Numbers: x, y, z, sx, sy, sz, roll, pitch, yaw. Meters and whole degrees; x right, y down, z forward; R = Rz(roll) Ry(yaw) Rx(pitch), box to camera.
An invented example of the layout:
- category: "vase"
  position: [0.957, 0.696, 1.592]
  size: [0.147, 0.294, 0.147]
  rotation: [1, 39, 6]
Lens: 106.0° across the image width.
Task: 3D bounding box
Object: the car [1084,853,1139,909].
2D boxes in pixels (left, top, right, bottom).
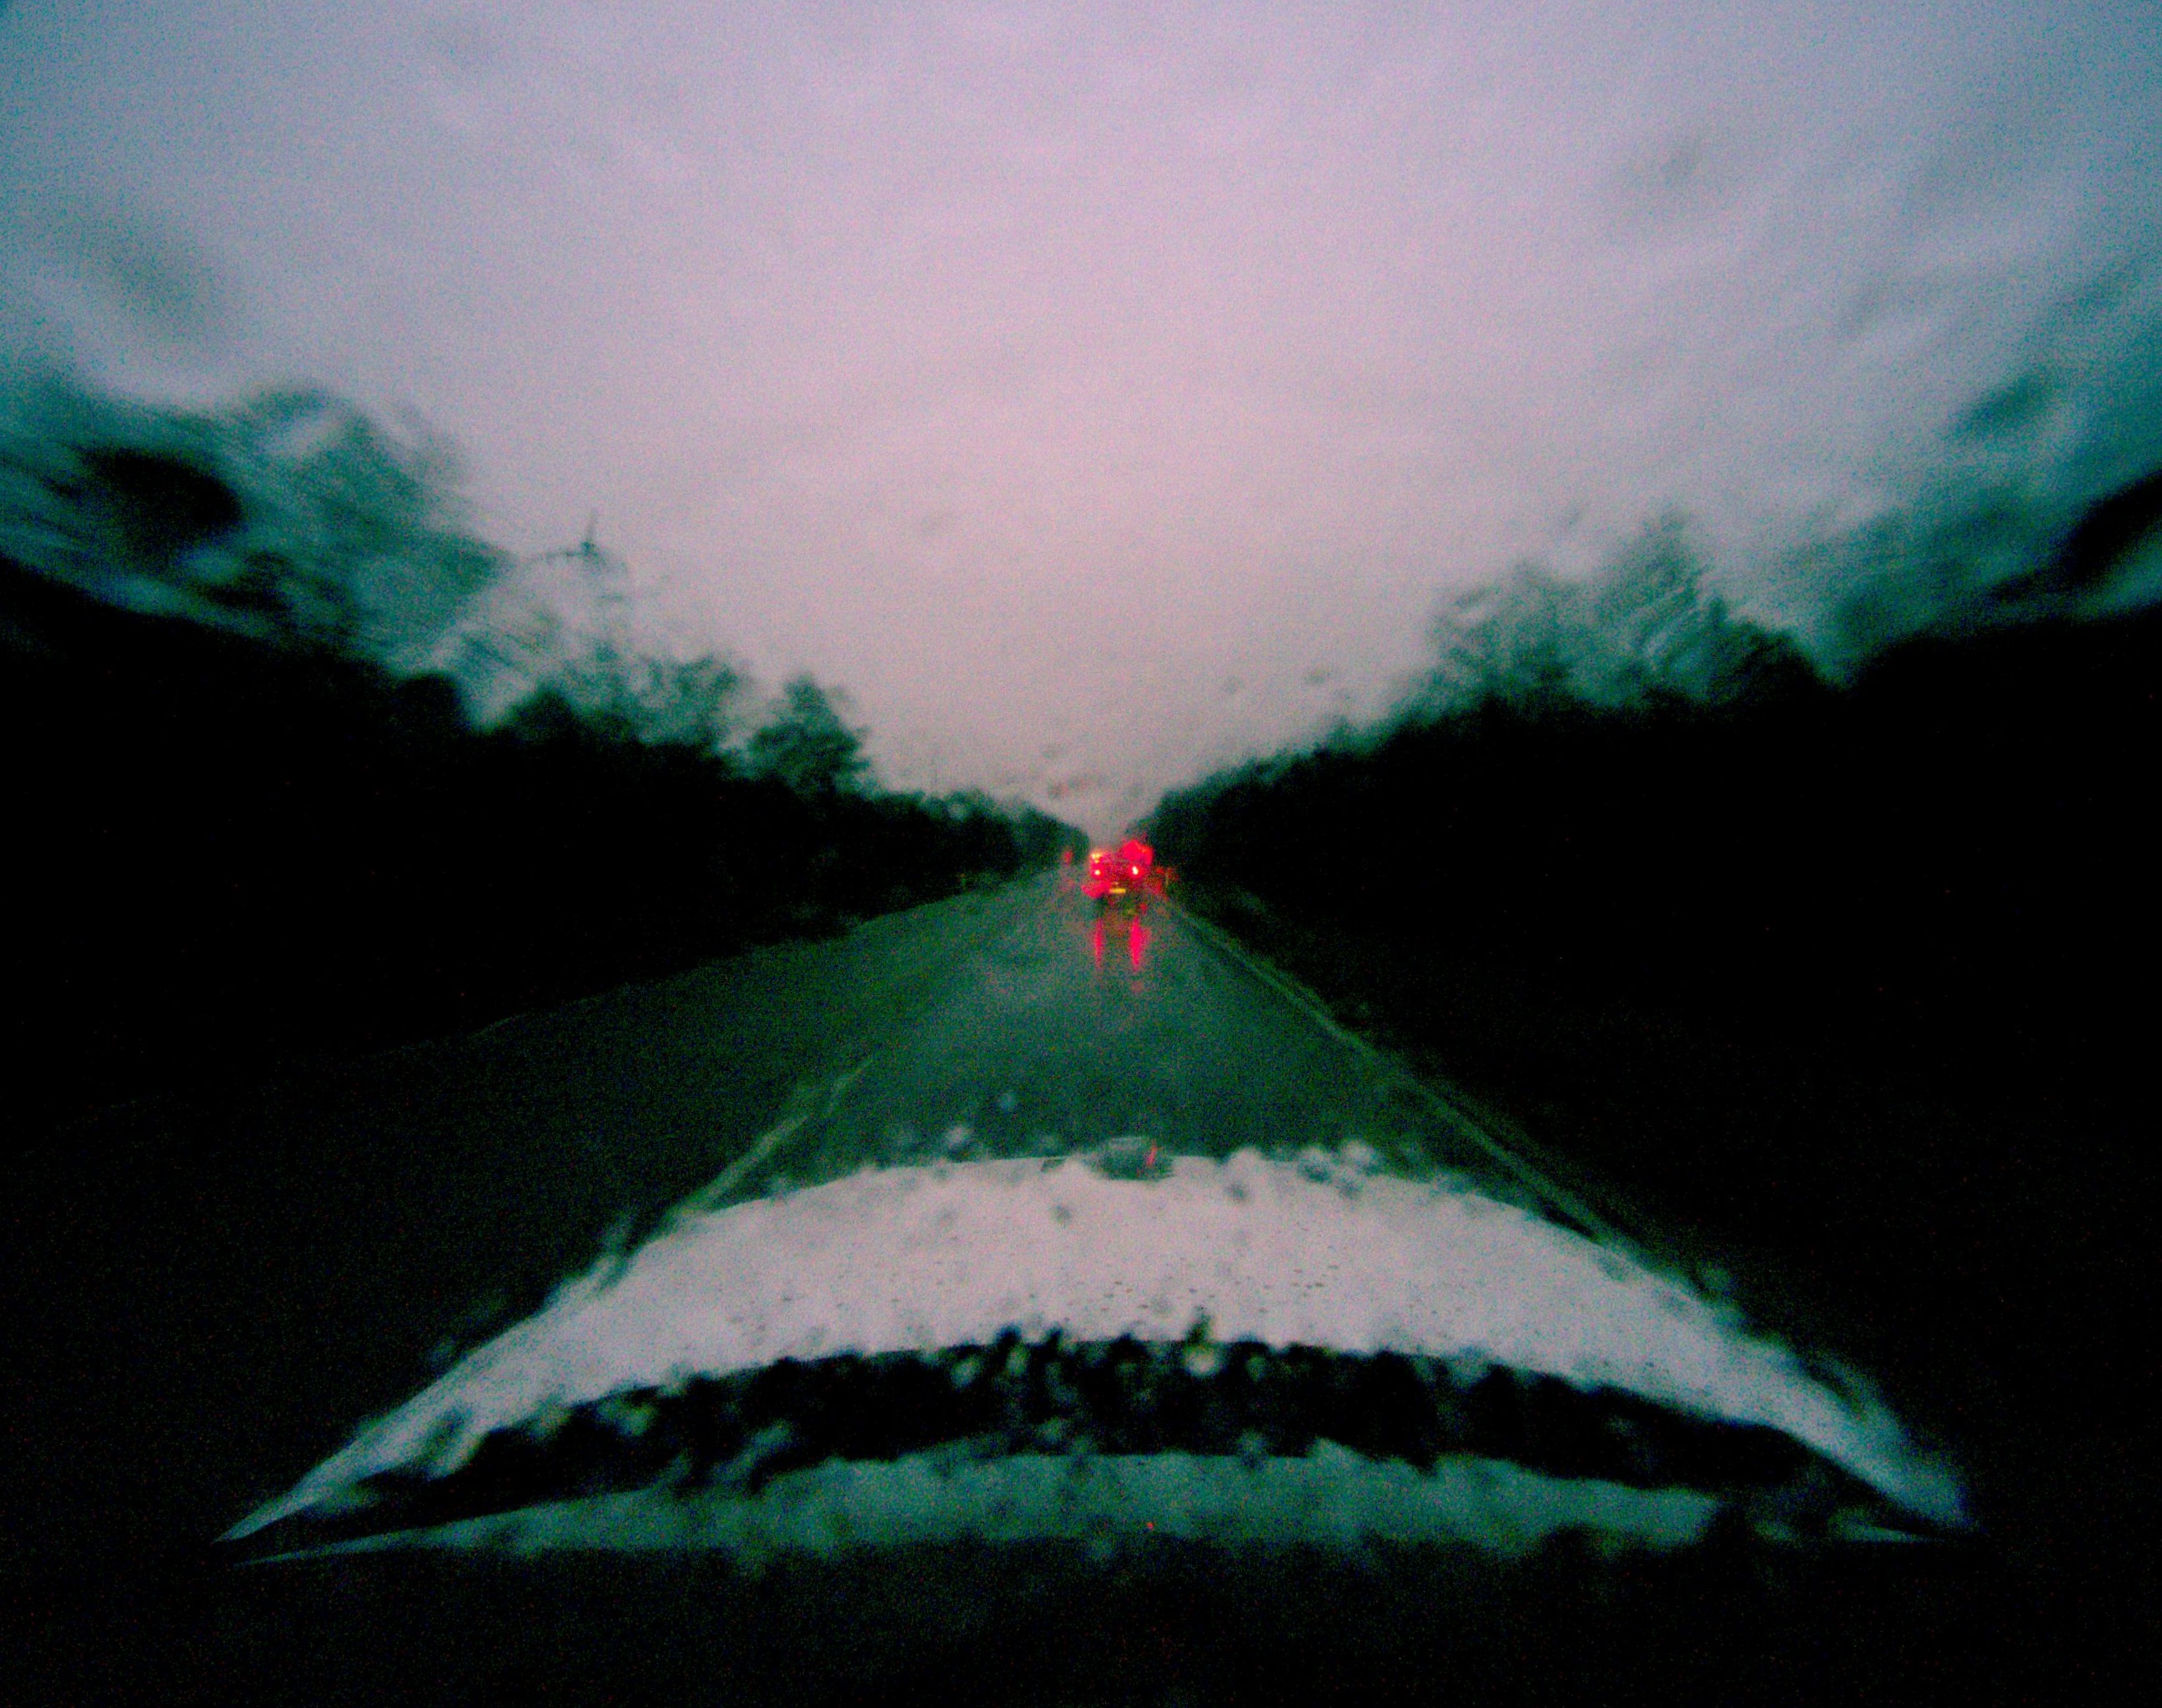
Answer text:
- category: "car"
  position: [0.986, 0.830, 26.433]
  size: [1.642, 1.672, 3.515]
  rotation: [0, 0, 2]

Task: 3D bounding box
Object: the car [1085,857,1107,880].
- category: "car"
  position: [1.249, 1.143, 66.419]
  size: [1.727, 1.779, 4.001]
  rotation: [0, 0, 1]
